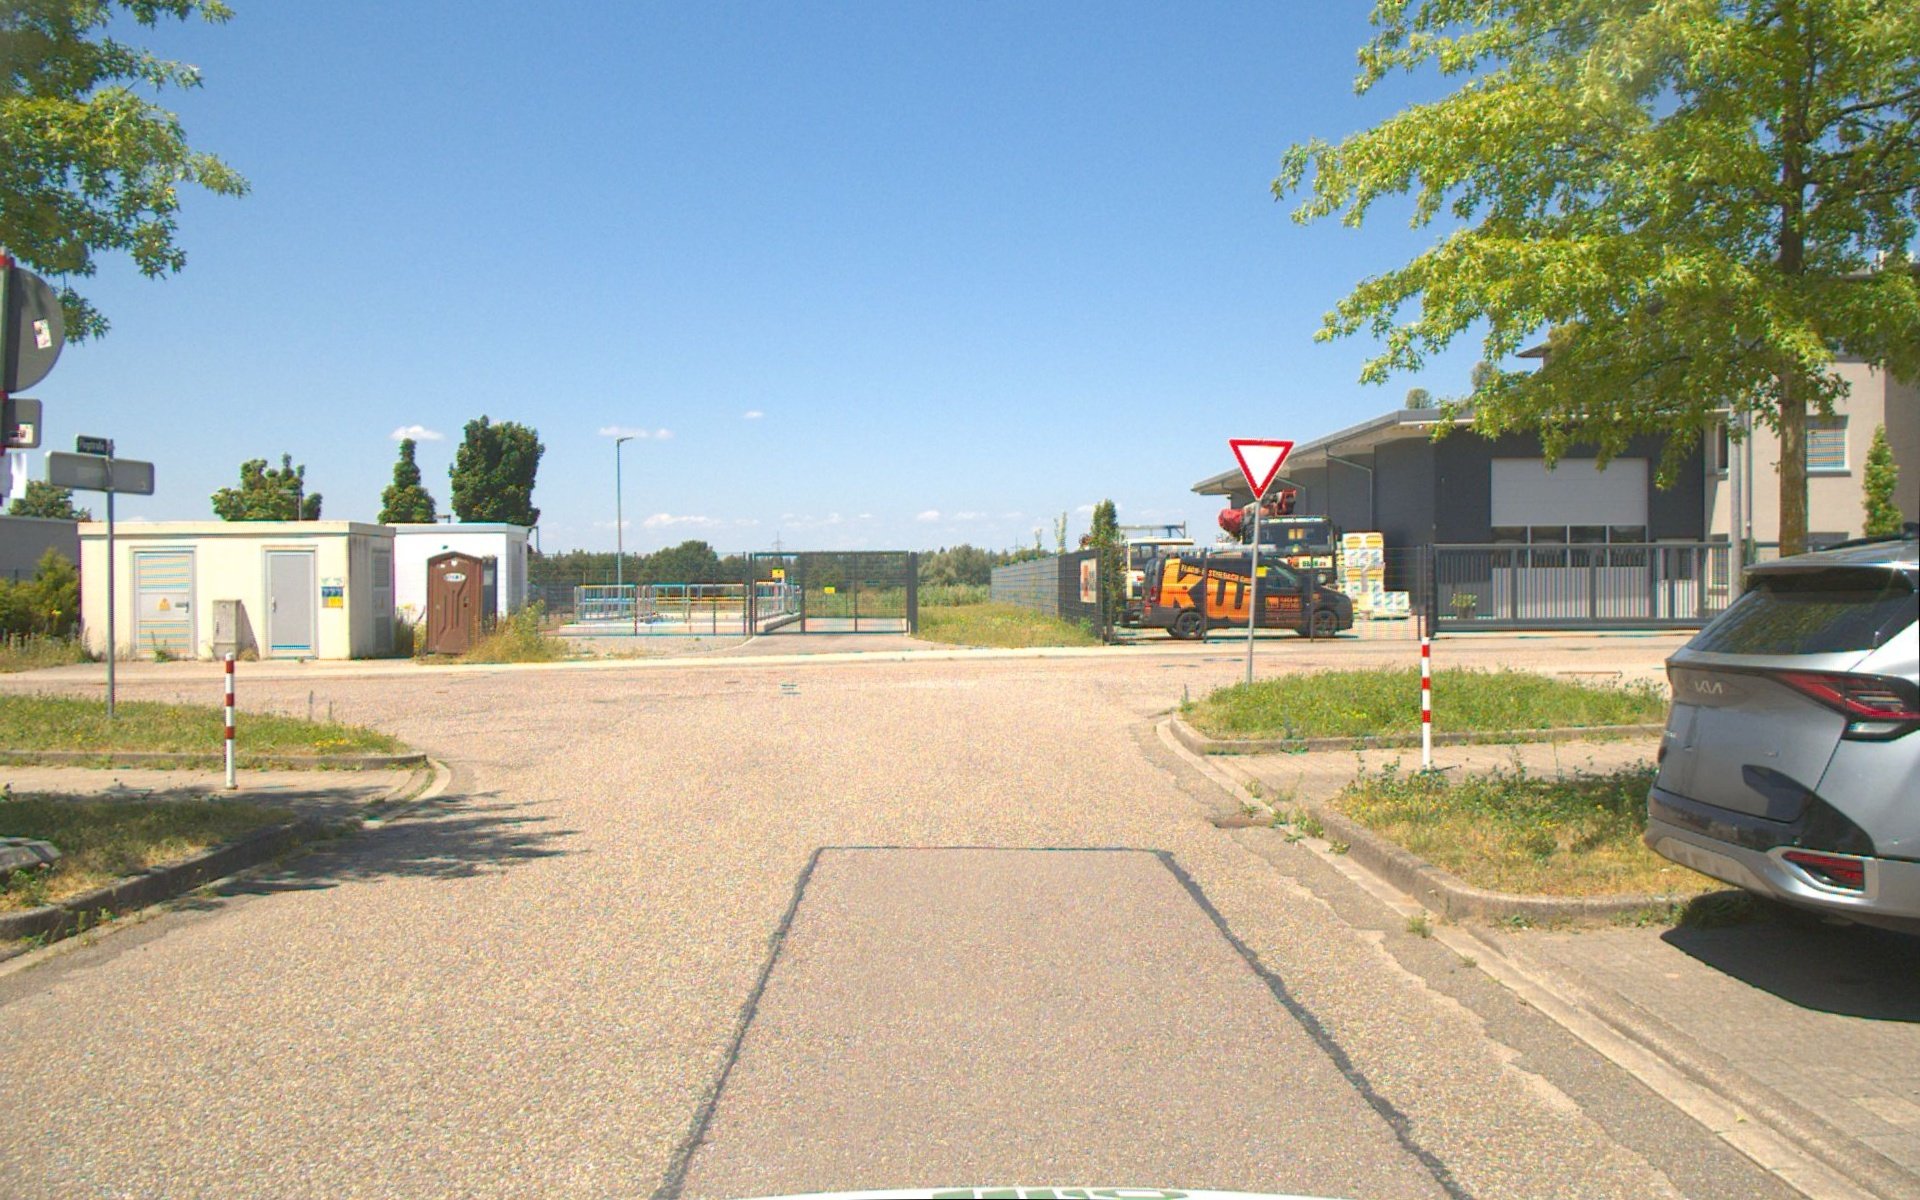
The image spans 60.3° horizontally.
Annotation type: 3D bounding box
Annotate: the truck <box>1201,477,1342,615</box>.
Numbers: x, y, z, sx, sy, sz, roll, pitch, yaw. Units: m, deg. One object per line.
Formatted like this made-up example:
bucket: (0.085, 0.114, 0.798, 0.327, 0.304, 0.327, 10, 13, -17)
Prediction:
truck: (9.609, -1.614, 51.770, 2.862, 3.997, 6.934, -1, 1, -2)

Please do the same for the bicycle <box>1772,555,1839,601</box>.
bicycle: (22.882, -0.602, 44.772, 1.772, 1.205, 0.442, -1, 1, -16)

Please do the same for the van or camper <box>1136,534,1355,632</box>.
van or camper: (6.760, -0.423, 39.498, 4.836, 2.201, 2.000, -1, 2, -2)

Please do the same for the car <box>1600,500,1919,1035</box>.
car: (4.861, 0.446, 6.168, 4.192, 1.673, 1.850, -2, 0, -1)

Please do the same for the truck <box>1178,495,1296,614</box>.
truck: (9.883, -1.580, 59.684, 2.862, 3.997, 6.934, -1, 1, -2)

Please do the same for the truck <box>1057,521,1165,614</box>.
truck: (5.132, -1.106, 57.398, 2.862, 2.989, 6.934, -1, 1, -2)

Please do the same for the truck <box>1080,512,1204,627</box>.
truck: (5.245, -0.884, 48.857, 2.671, 3.115, 6.934, -1, 1, -2)
